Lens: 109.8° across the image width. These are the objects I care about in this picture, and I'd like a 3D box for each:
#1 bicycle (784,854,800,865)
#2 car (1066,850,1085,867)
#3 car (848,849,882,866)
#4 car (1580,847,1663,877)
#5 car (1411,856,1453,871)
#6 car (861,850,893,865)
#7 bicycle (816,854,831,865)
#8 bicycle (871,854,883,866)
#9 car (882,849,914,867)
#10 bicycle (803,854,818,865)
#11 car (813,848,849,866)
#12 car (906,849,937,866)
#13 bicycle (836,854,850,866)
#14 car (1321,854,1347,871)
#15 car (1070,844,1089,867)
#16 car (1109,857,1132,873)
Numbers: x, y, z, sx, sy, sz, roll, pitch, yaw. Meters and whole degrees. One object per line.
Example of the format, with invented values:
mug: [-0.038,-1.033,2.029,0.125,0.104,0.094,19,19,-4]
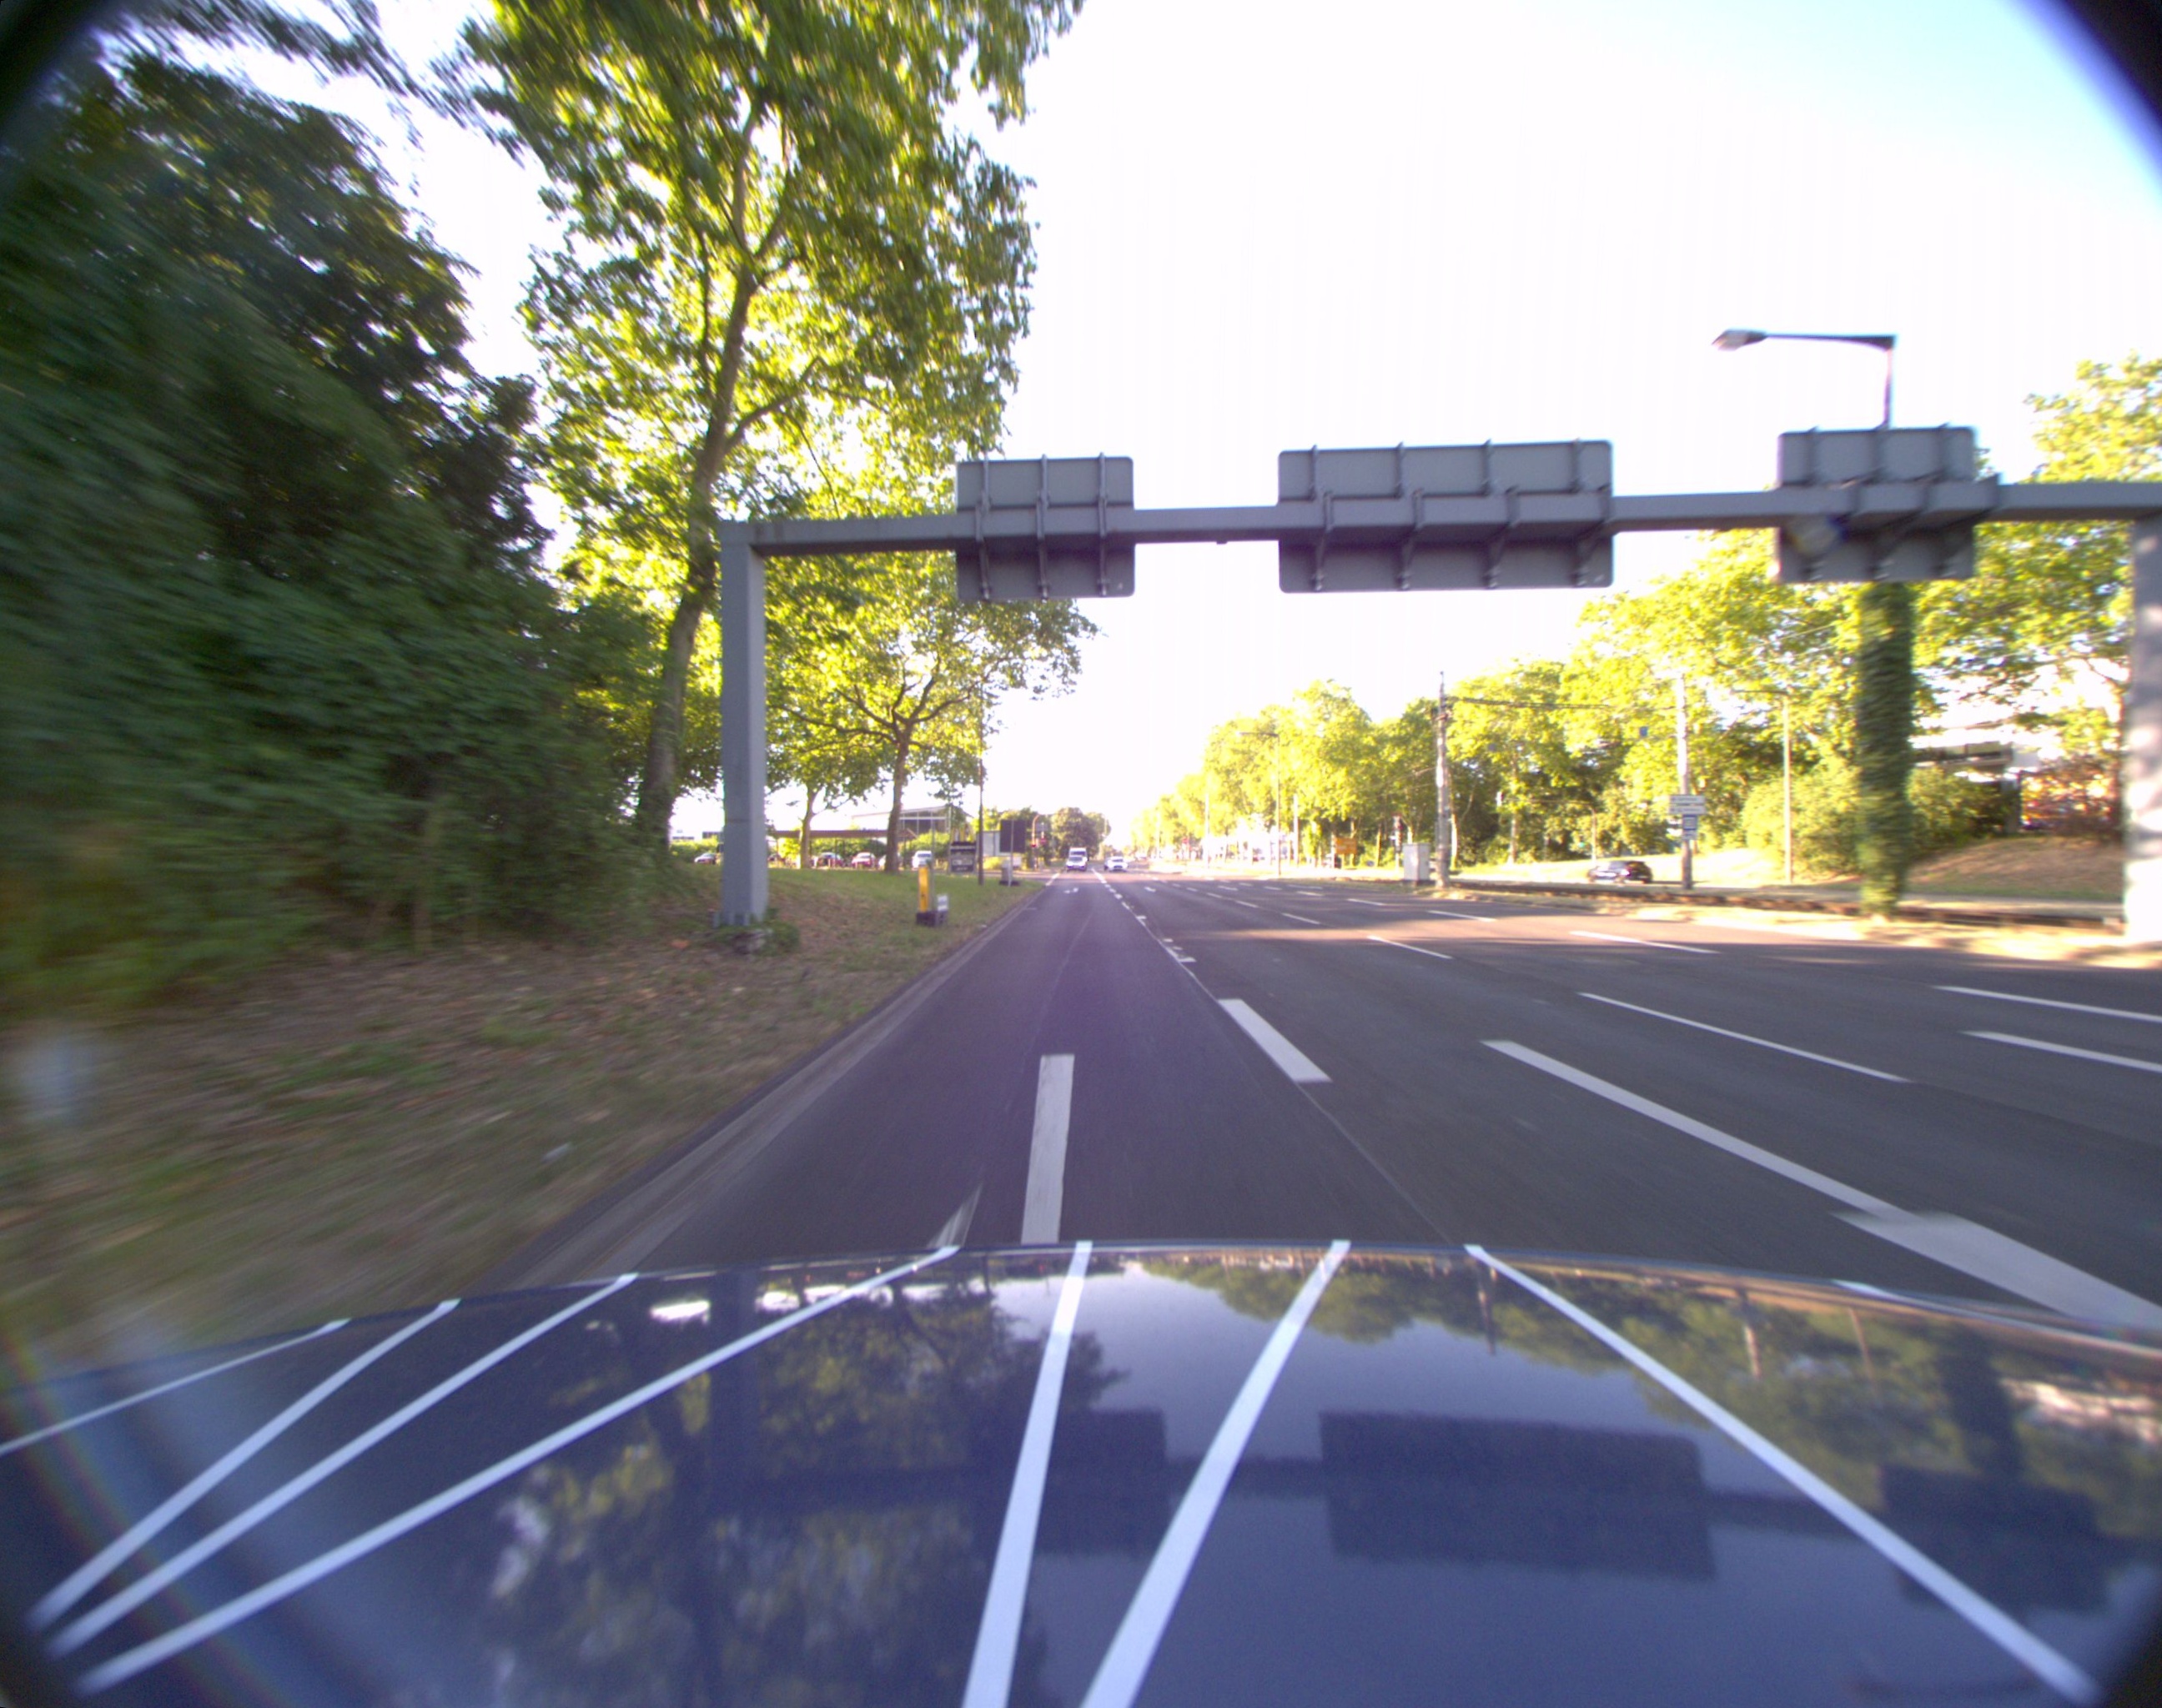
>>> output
bicycle: [-25.571,0.477,67.173,0.543,1.032,1.894,0,0,5]
car: [-0.519,0.460,78.128,1.875,1.608,4.548,0,0,0]
car: [-20.772,0.339,73.332,2.119,1.639,4.320,1,0,-1]
car: [31.791,0.439,44.853,1.998,1.671,4.191,0,0,2]
car: [33.015,0.876,71.633,1.998,1.432,4.191,0,0,0]
car: [-23.305,0.434,86.959,2.117,1.627,4.003,1,0,9]
bicycle: [-22.760,0.480,67.283,0.543,1.032,1.894,0,0,5]
bicycle: [-17.965,0.532,66.998,0.543,1.032,1.894,0,0,1]
car: [-17.505,0.365,72.846,2.119,1.639,4.000,1,0,-1]
bicycle: [-23.949,0.483,67.346,0.543,1.032,1.894,0,0,5]
car: [-24.167,0.303,73.521,2.119,1.639,4.320,1,0,-1]
car: [-15.300,0.340,73.016,2.119,1.639,4.227,1,0,-1]
bicycle: [-20.993,0.507,67.050,0.543,1.032,1.894,0,0,1]
car: [32.547,1.079,97.913,1.998,2.054,4.191,0,0,1]
car: [-0.105,0.190,86.143,2.008,2.551,5.876,0,0,1]
car: [4.109,1.097,78.364,1.873,1.608,4.003,0,0,9]
